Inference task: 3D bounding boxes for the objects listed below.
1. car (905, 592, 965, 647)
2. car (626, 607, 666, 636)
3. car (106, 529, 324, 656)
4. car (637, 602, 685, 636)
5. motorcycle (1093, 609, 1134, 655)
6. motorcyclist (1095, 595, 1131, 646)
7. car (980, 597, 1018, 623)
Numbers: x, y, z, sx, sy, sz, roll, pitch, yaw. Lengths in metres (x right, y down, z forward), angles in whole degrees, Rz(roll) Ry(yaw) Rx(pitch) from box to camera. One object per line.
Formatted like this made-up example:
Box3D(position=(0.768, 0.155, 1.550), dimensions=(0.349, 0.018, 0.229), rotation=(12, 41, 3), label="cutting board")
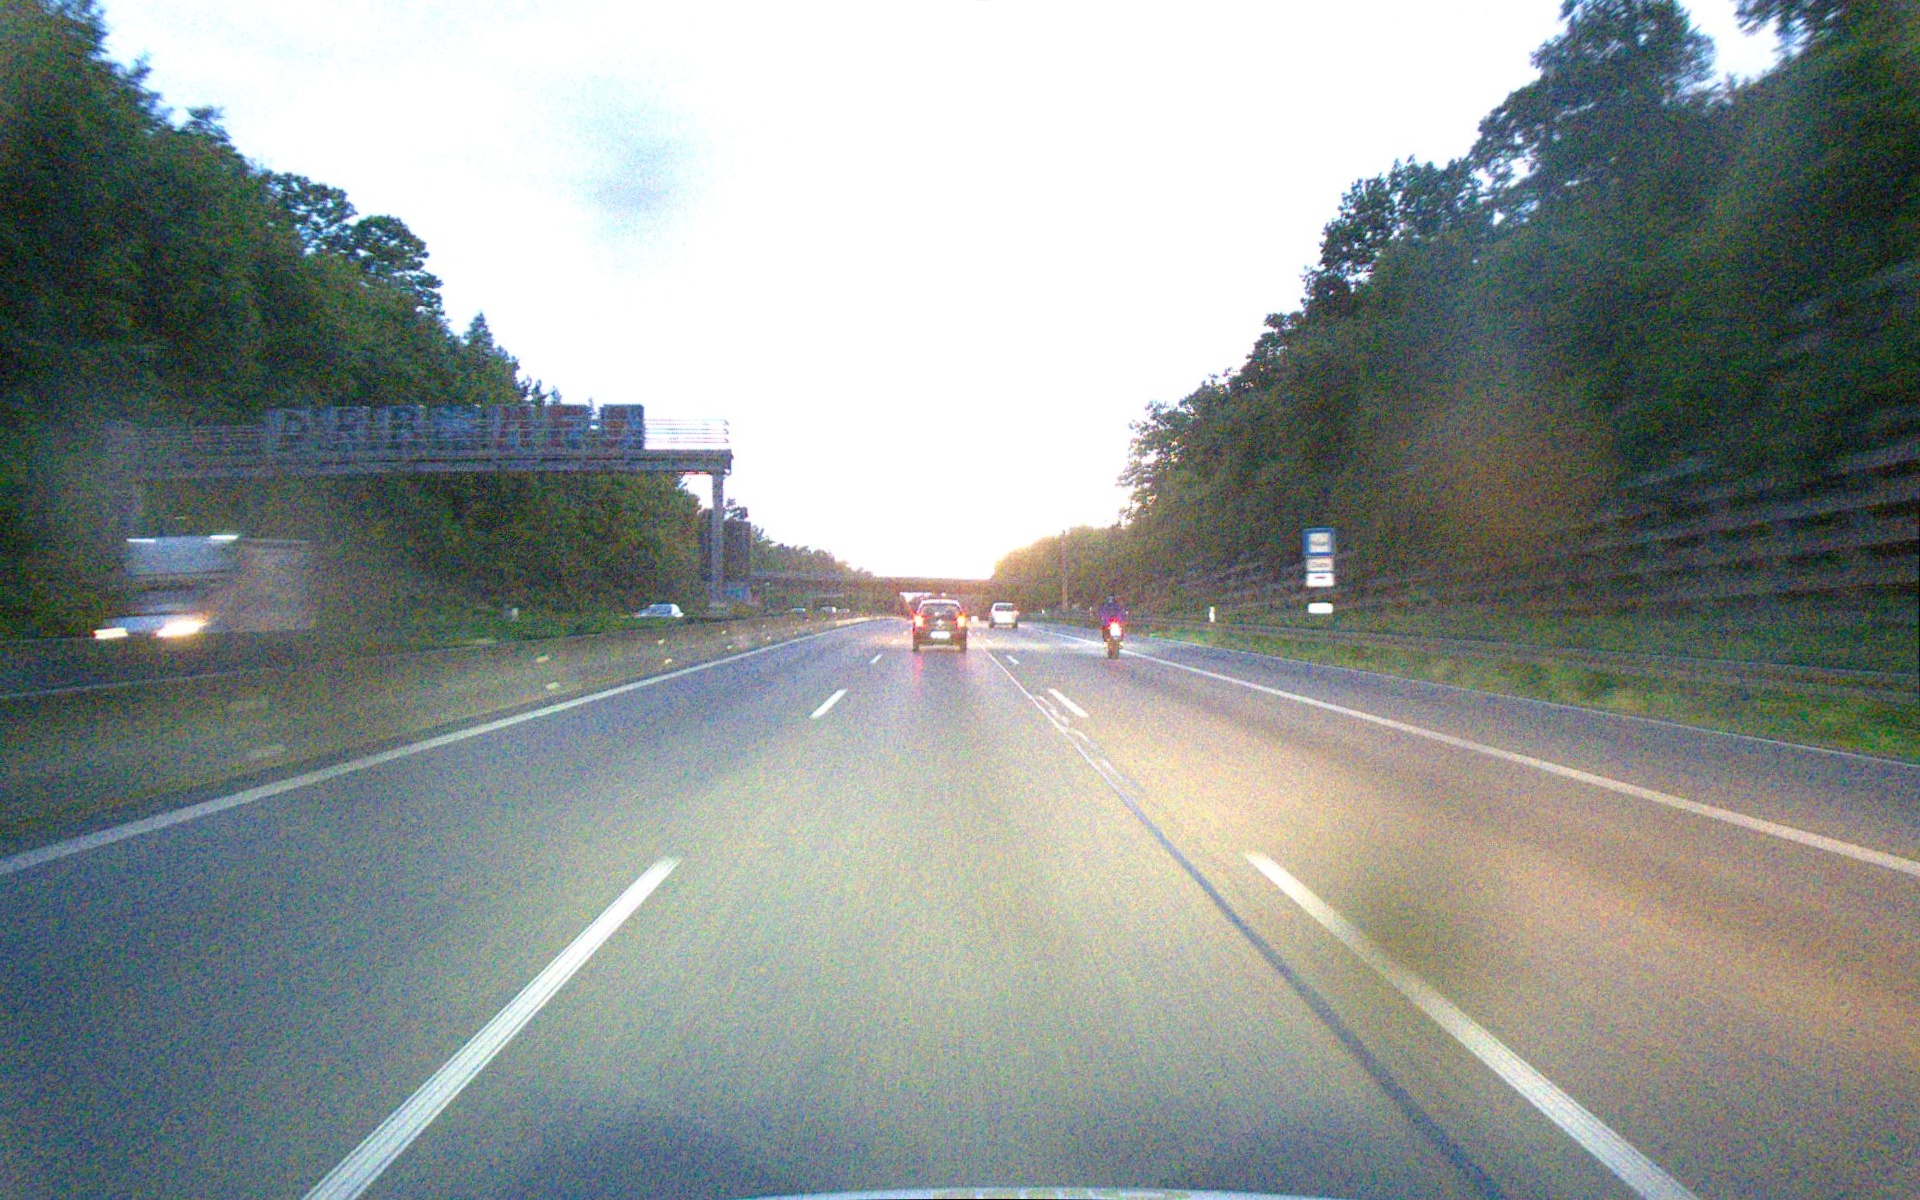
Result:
Box3D(position=(-0.722, 0.568, 49.161), dimensions=(1.669, 1.536, 4.231), rotation=(1, -1, -1), label="car")
Box3D(position=(-20.003, 1.369, 105.581), dimensions=(1.878, 1.796, 5.005), rotation=(0, 0, -3), label="car")
Box3D(position=(-18.794, -0.167, 42.300), dimensions=(1.941, 2.931, 7.834), rotation=(0, 0, 1), label="car")
Box3D(position=(-16.071, 0.989, 89.129), dimensions=(1.878, 1.796, 5.005), rotation=(0, 0, -3), label="car")
Box3D(position=(3.978, 0.824, 43.129), dimensions=(0.813, 1.154, 2.475), rotation=(0, 0, -1), label="motorcycle")
Box3D(position=(3.981, 0.519, 43.062), dimensions=(0.813, 1.314, 1.190), rotation=(0, 0, -1), label="motorcyclist")
Box3D(position=(2.389, 0.641, 102.180), dimensions=(1.829, 1.520, 4.394), rotation=(1, -1, -5), label="car")
